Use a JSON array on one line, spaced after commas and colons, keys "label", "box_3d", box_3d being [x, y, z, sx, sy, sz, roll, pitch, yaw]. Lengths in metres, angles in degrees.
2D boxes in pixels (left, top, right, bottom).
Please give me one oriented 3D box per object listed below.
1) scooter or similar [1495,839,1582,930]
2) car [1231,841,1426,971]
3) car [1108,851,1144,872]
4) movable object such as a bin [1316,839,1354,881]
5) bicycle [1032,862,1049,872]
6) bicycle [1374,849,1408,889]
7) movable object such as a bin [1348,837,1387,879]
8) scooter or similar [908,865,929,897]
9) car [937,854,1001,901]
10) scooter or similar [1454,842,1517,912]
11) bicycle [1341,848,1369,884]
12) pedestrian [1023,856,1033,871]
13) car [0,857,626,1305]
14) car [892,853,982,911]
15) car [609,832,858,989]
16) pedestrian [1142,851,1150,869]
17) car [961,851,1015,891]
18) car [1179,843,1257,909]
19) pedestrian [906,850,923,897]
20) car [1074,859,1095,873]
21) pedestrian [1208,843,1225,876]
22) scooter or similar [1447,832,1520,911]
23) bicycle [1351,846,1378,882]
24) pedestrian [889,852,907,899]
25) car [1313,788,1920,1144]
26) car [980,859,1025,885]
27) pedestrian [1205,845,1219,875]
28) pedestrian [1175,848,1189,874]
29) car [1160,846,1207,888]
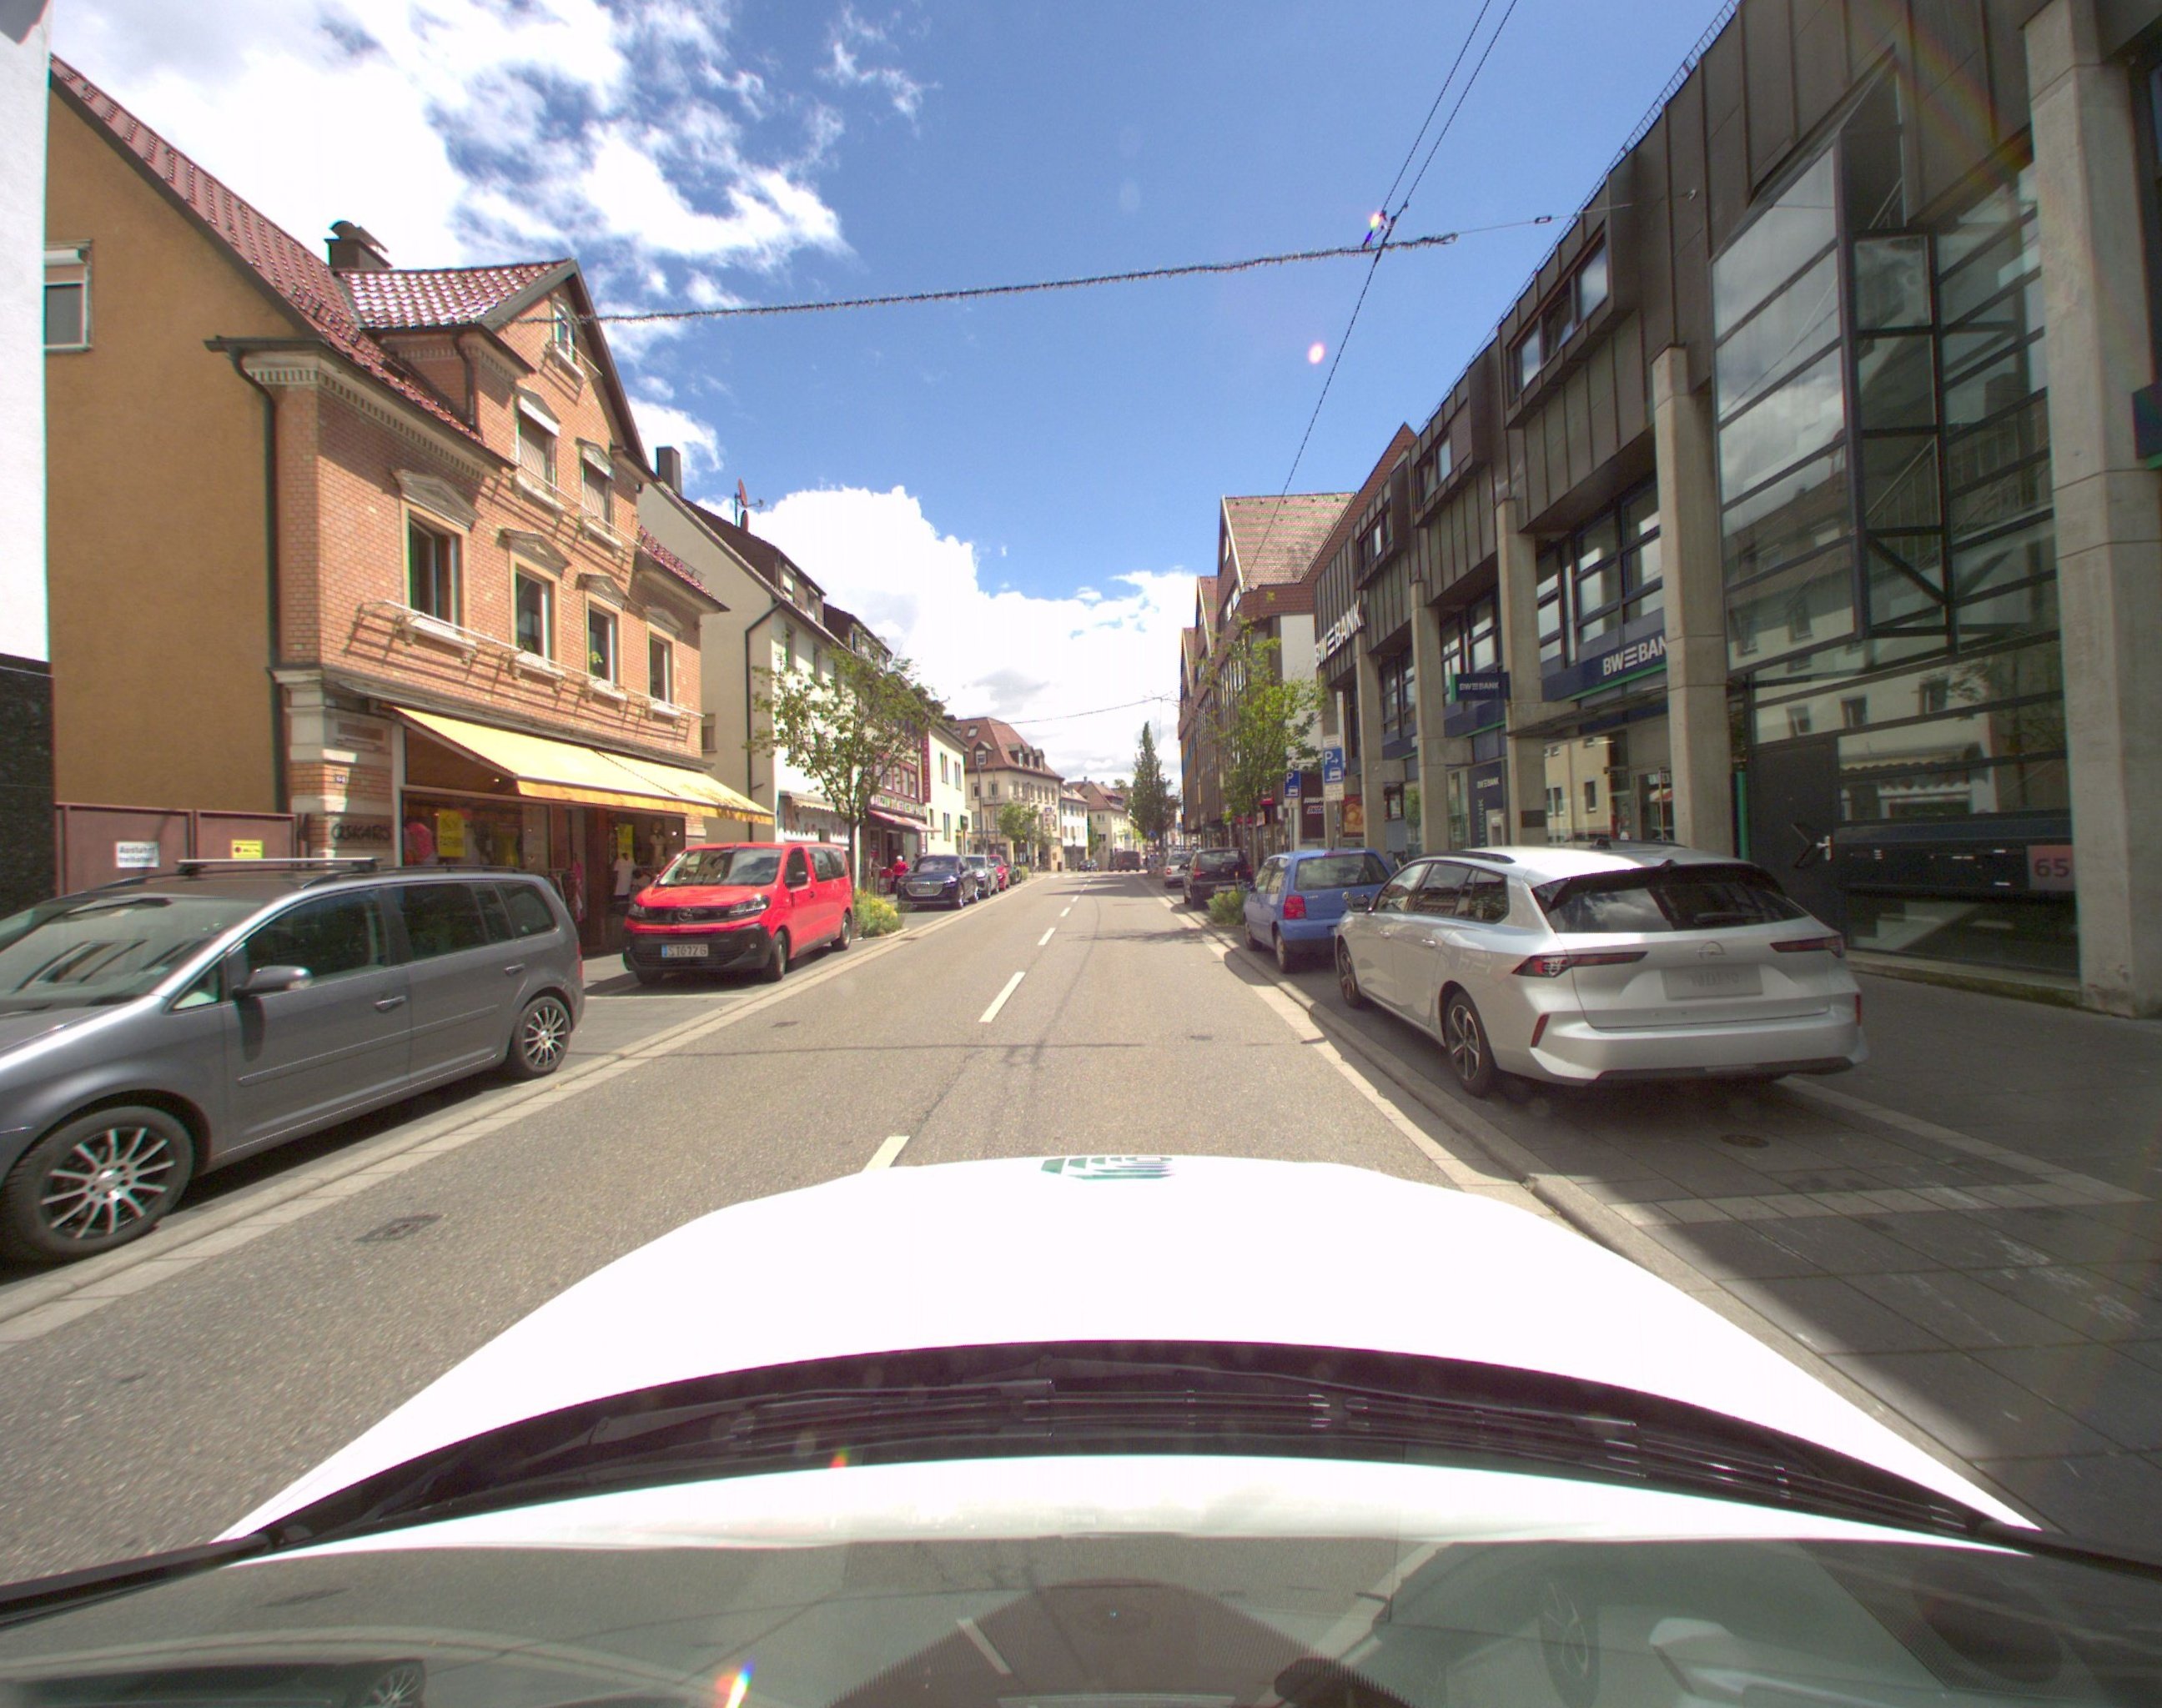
[{"label": "scooter or similar", "box_3d": [6.670, 0.425, 11.945, 0.420, 1.246, 1.562, -1, -1, 2]}, {"label": "car", "box_3d": [3.244, 0.630, 11.505, 1.714, 1.494, 4.112, -1, -1, 3]}, {"label": "car", "box_3d": [3.972, 0.684, 73.143, 2.042, 1.848, 4.979, 0, -1, -12]}, {"label": "movable object such as a bin", "box_3d": [9.543, 0.217, 30.614, 1.137, 1.528, 1.033, -1, -1, 4]}, {"label": "bicycle", "box_3d": [-4.041, 1.273, 80.937, 1.619, 1.031, 0.570, -1, -1, 17]}, {"label": "bicycle", "box_3d": [8.973, 0.434, 23.623, 0.423, 1.119, 1.743, -1, -1, 4]}, {"label": "movable object such as a bin", "box_3d": [10.756, 0.145, 30.606, 1.137, 1.528, 1.033, -1, -1, 4]}, {"label": "scooter or similar", "box_3d": [-5.914, 0.979, 29.671, 0.561, 1.151, 0.985, -1, -1, -1]}, {"label": "car", "box_3d": [-4.150, 0.823, 30.784, 1.794, 1.604, 4.349, -2, 0, -1]}, {"label": "scooter or similar", "box_3d": [7.561, 0.421, 15.280, 0.420, 1.246, 1.562, -1, -1, 2]}, {"label": "bicycle", "box_3d": [8.617, 0.360, 25.689, 0.423, 1.081, 1.504, -3, 0, 4]}, {"label": "pedestrian", "box_3d": [-5.458, 0.993, 83.903, 0.620, 1.532, 0.864, -1, -1, 26]}, {"label": "car", "box_3d": [-5.032, 0.917, 4.949, 1.808, 1.755, 4.468, -1, -1, 3]}, {"label": "car", "box_3d": [-4.317, 0.787, 25.130, 1.792, 1.598, 4.391, -2, 0, 2]}, {"label": "car", "box_3d": [-4.896, 0.717, 12.351, 1.811, 1.889, 4.837, -1, -1, -2]}, {"label": "pedestrian", "box_3d": [6.533, 0.600, 81.768, 0.865, 1.708, 0.531, -1, -1, 4]}, {"label": "car", "box_3d": [-4.055, 0.715, 36.087, 1.793, 1.604, 4.218, -2, 0, 0]}, {"label": "car", "box_3d": [3.605, 0.534, 21.992, 1.602, 1.532, 3.798, -3, 0, 3]}, {"label": "pedestrian", "box_3d": [-5.917, 0.693, 28.943, 0.512, 1.648, 0.472, -1, -1, 0]}, {"label": "car", "box_3d": [0.418, 1.360, 93.590, 1.613, 1.486, 3.819, -1, -1, 14]}, {"label": "pedestrian", "box_3d": [7.103, 0.289, 42.748, 0.658, 1.706, 0.642, 0, -1, -21]}, {"label": "scooter or similar", "box_3d": [6.723, 0.285, 13.649, 0.405, 1.246, 1.321, 0, -1, -8]}, {"label": "bicycle", "box_3d": [9.039, 0.308, 25.971, 0.423, 1.119, 1.503, -1, -1, 4]}, {"label": "pedestrian", "box_3d": [-6.479, 0.754, 28.896, 0.500, 1.648, 0.574, -1, -1, -1]}, {"label": "car", "box_3d": [3.141, 0.497, 6.047, 1.714, 1.576, 4.433, -4, 1, 3]}, {"label": "car", "box_3d": [-4.063, 0.920, 42.774, 1.812, 1.223, 4.525, 0, 0, 2]}, {"label": "pedestrian", "box_3d": [7.912, 0.355, 49.137, 0.734, 1.814, 0.712, -1, -1, 2]}, {"label": "pedestrian", "box_3d": [6.369, 0.466, 51.491, 0.781, 1.615, 0.800, -1, -1, 2]}, {"label": "car", "box_3d": [4.244, 0.514, 34.179, 1.603, 1.495, 3.798, -5, 0, 3]}]
